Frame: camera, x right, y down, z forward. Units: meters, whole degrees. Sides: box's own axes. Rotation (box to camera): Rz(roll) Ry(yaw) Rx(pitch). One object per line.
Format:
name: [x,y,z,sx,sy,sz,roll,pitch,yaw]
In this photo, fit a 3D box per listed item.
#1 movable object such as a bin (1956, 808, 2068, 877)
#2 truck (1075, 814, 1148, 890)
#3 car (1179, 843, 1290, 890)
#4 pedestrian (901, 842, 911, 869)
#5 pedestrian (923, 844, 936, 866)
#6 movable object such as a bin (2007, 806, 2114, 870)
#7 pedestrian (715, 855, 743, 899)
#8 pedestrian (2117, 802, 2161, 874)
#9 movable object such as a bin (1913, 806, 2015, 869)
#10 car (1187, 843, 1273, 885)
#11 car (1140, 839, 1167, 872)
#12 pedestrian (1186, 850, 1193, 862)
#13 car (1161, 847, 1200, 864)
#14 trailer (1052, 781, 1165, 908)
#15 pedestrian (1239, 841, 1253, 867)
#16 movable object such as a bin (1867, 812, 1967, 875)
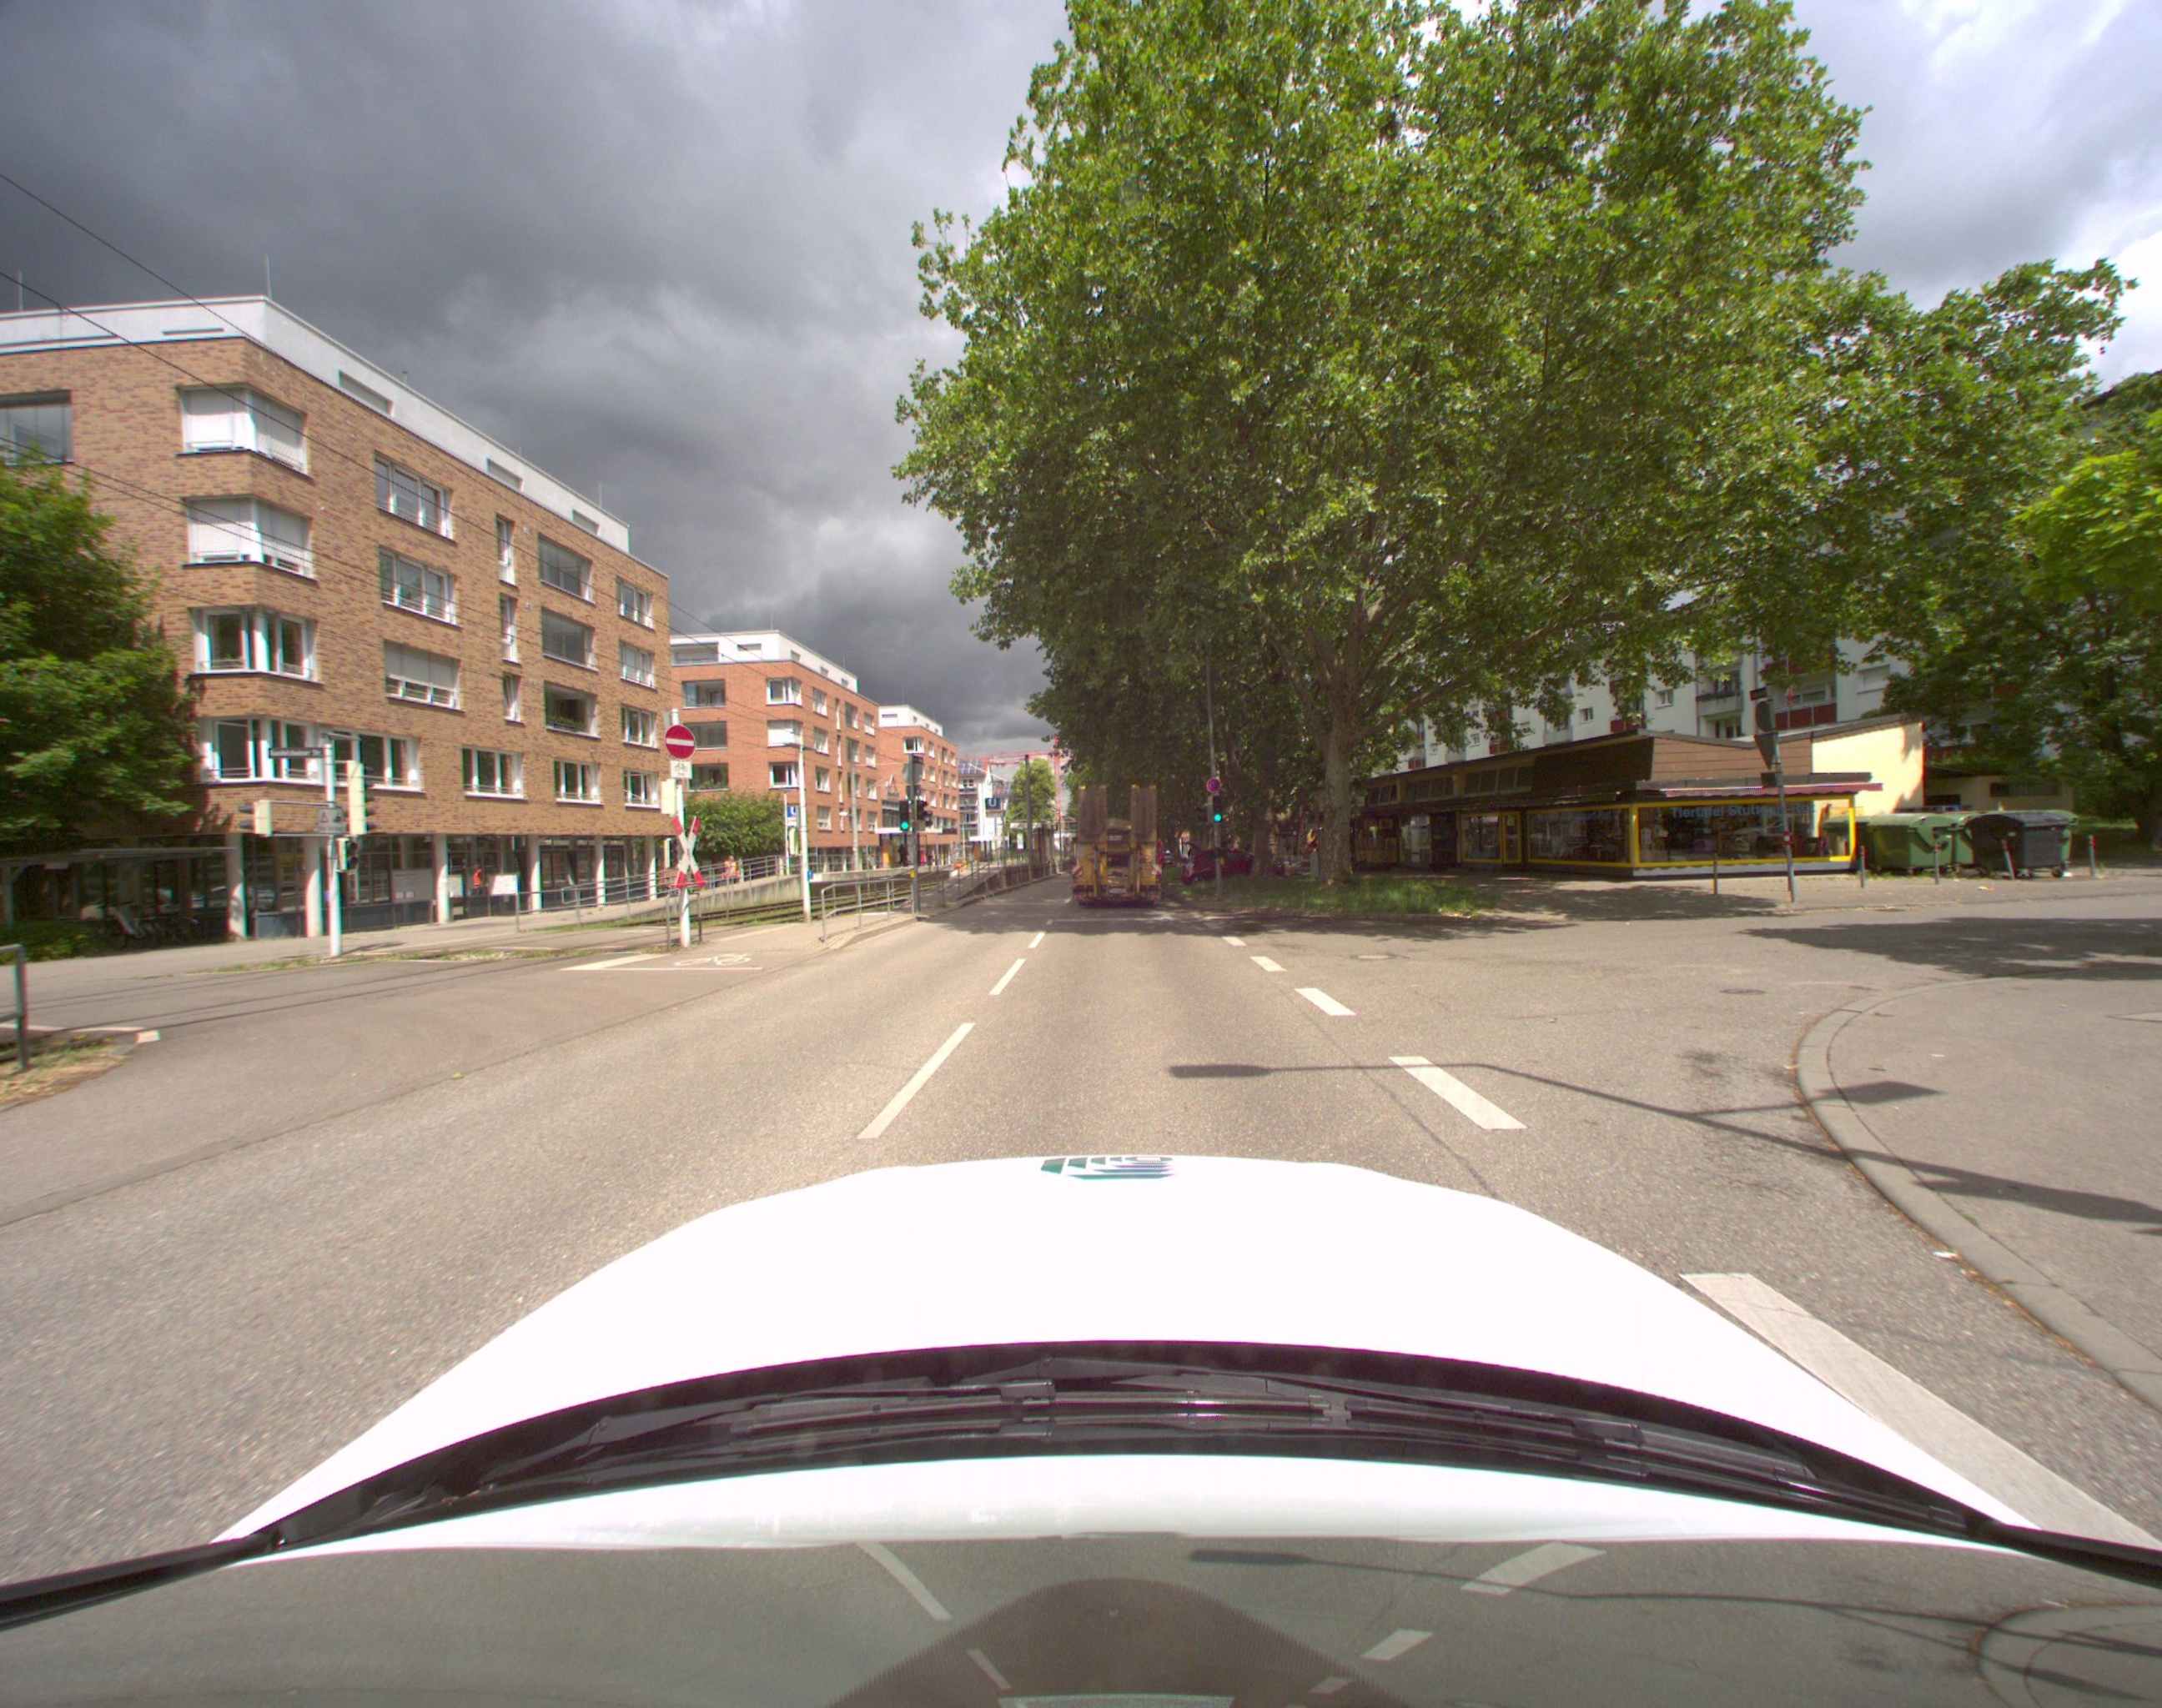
movable object such as a bin: [20.597,-0.274,18.043,1.178,1.412,1.144,-3,2,-1]
truck: [1.452,-0.072,38.060,2.977,3.135,7.892,-1,0,2]
car: [5.878,0.472,31.549,4.010,1.611,1.733,-2,0,5]
pedestrian: [-11.625,0.099,54.119,0.532,1.763,0.528,-2,-1,0]
pedestrian: [-11.356,0.060,61.033,0.748,1.629,0.816,-1,0,3]
movable object such as a bin: [23.099,-0.385,19.239,1.178,1.412,1.144,-3,2,-1]
pedestrian: [-14.970,0.972,34.609,0.740,1.825,0.829,-2,0,2]
pedestrian: [23.071,-0.347,17.251,0.806,1.475,1.101,-2,3,-2]
movable object such as a bin: [21.372,-0.408,19.739,1.172,1.412,1.212,-3,2,-1]
car: [6.513,0.446,35.899,3.397,1.514,1.609,-5,0,-1]
car: [6.187,0.114,70.128,1.896,2.581,6.840,-3,0,3]
pedestrian: [12.482,0.247,93.531,0.693,1.392,0.512,-2,0,-1]
car: [10.415,0.157,85.620,3.821,1.562,1.618,-3,0,-4]
trailer: [1.023,-0.261,28.565,3.142,3.552,11.103,-1,0,2]
pedestrian: [12.326,0.027,60.843,0.740,1.883,0.942,-4,-1,2]
movable object such as a bin: [20.152,-0.277,19.669,1.172,1.412,1.212,-3,2,-1]
